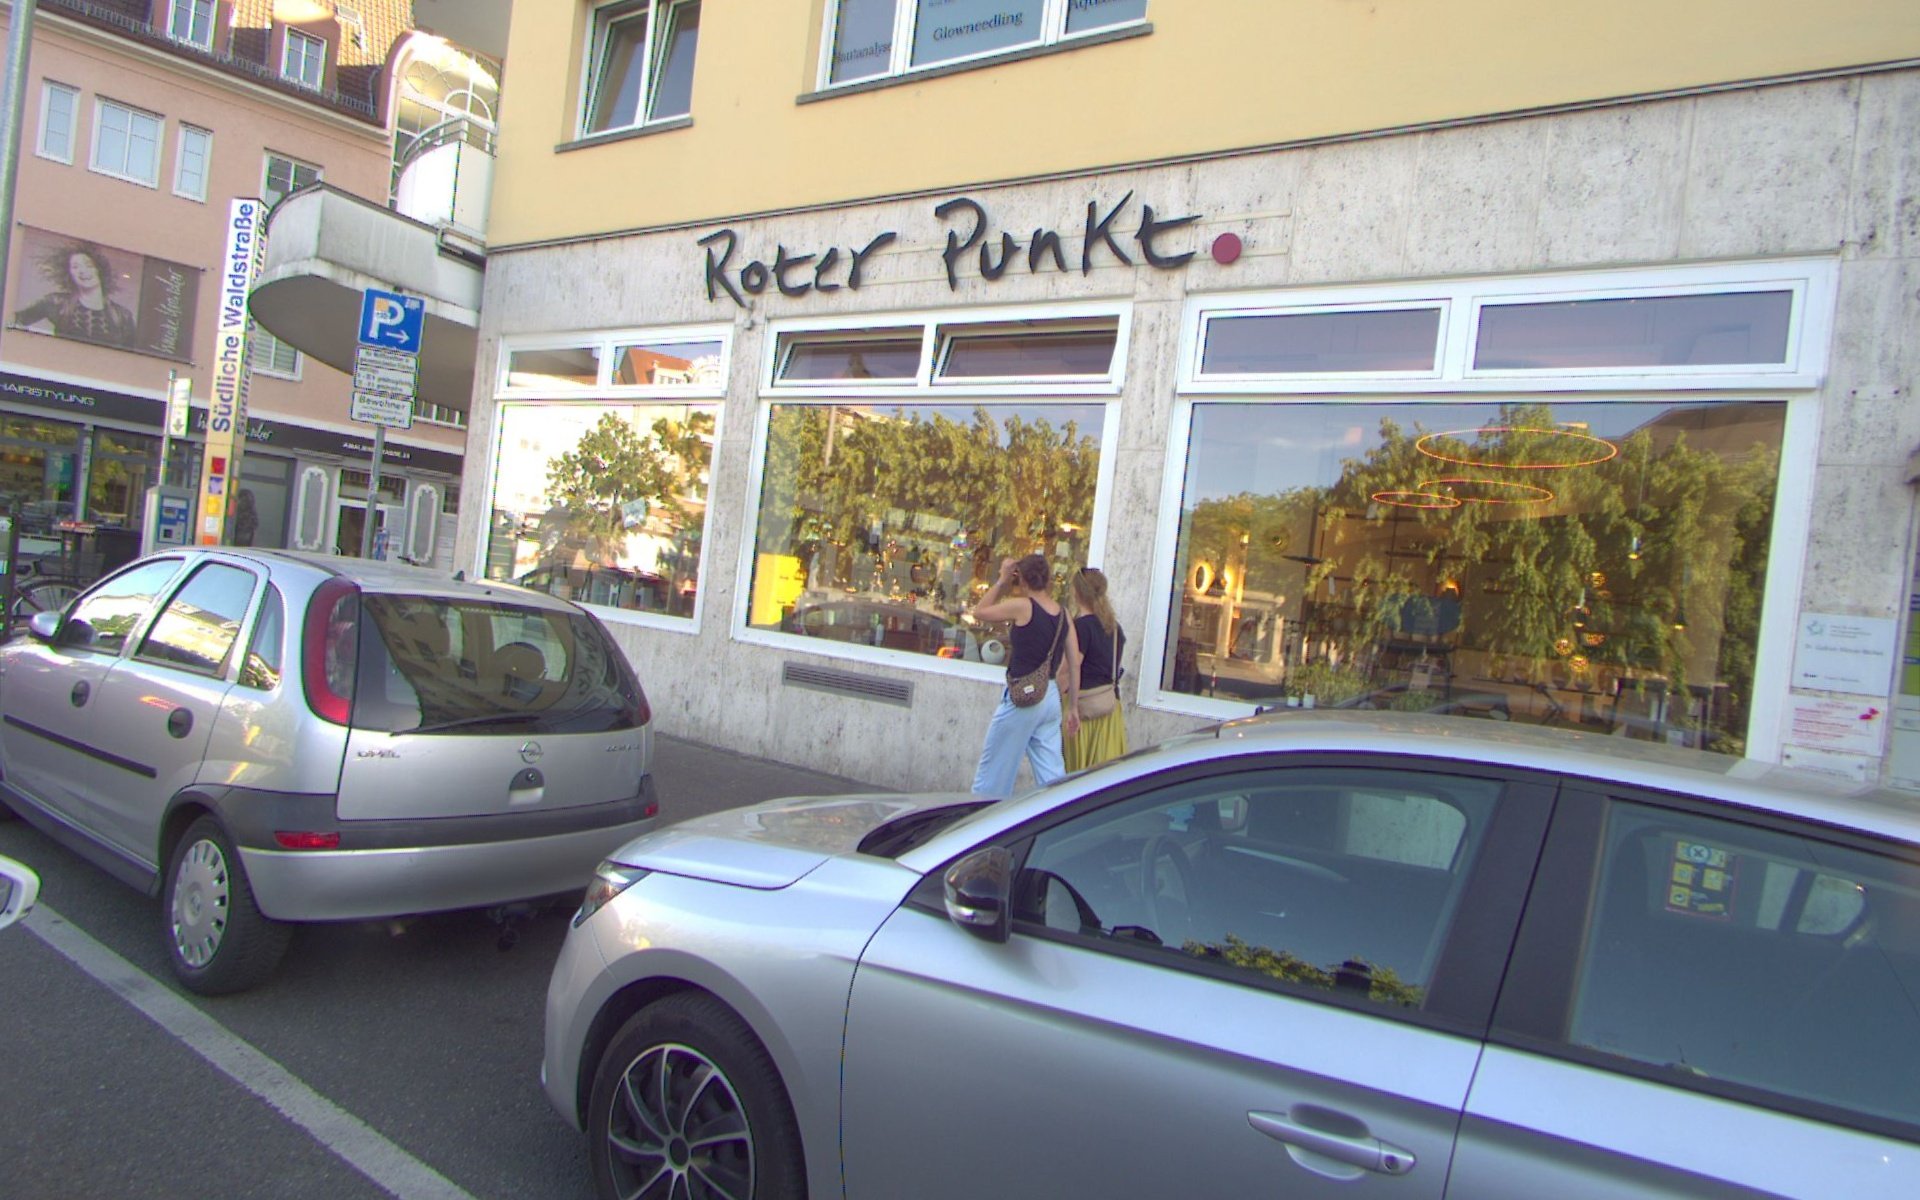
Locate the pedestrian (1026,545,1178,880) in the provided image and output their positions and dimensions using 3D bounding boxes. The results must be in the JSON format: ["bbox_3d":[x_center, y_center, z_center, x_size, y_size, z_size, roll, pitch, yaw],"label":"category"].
[{"bbox_3d":[0.864,0.637,5.980,0.557,1.805,0.743,7,0,19],"label":"pedestrian"}]

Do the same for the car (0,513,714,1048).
[{"bbox_3d":[-2.935,0.489,4.436,3.420,1.407,1.548,6,-1,33],"label":"car"}]

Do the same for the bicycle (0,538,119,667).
[{"bbox_3d":[-8.128,-0.003,8.201,0.348,1.051,1.871,6,1,38],"label":"bicycle"}]

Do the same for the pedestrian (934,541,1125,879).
[{"bbox_3d":[0.359,0.576,5.473,0.649,1.685,0.645,7,0,-18],"label":"pedestrian"}]

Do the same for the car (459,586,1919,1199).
[{"bbox_3d":[0.759,0.921,2.266,3.598,1.444,1.550,6,-1,30],"label":"car"}]

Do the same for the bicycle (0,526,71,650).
[{"bbox_3d":[-9.096,-0.149,8.810,0.408,1.101,1.872,6,1,35],"label":"bicycle"}]
